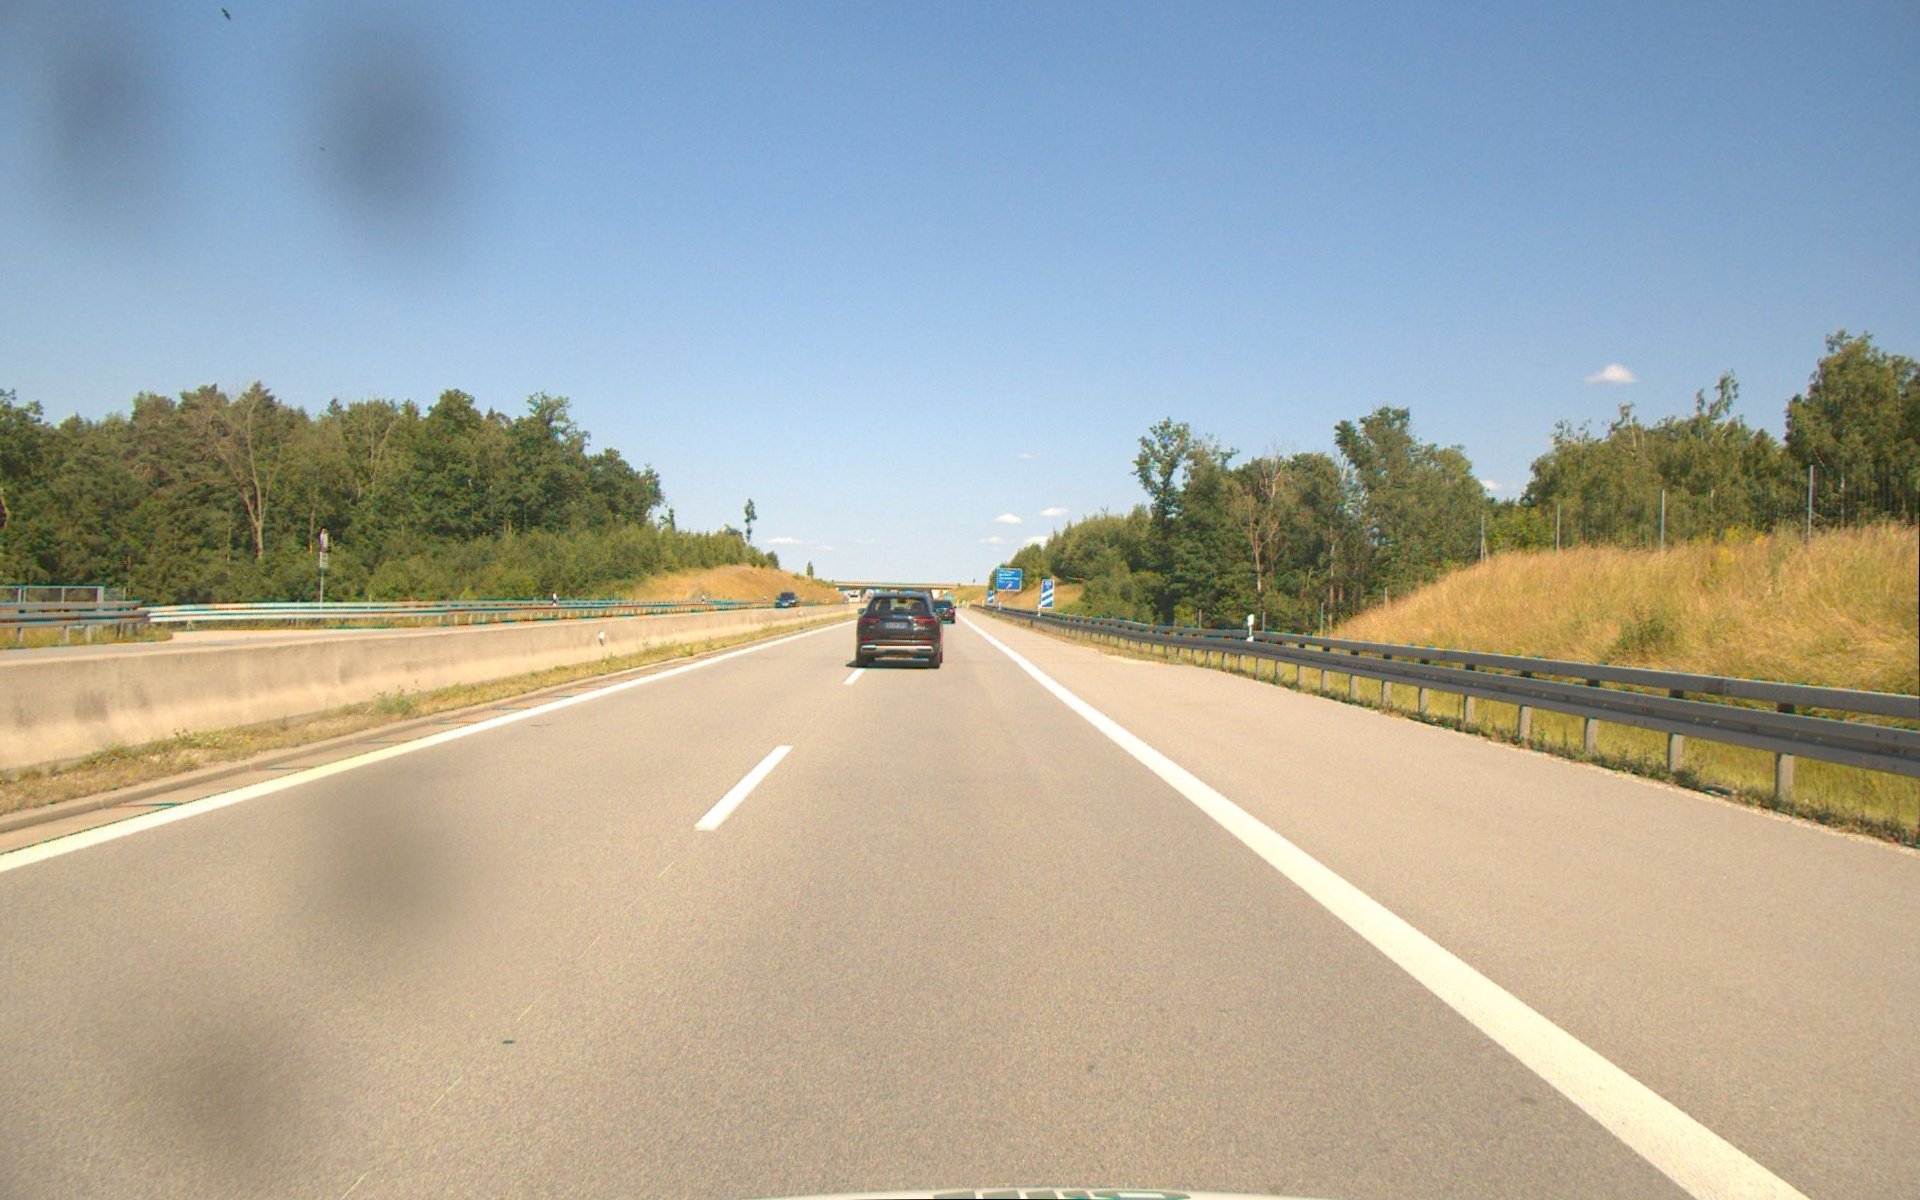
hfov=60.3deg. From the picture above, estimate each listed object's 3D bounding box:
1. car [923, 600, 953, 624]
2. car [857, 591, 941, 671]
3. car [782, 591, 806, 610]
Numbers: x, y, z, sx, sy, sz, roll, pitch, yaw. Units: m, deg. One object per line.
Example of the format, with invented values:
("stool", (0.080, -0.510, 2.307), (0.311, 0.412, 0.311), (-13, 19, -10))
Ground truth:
("car", (-1.324, 0.708, 100.719), (1.753, 1.398, 3.916), (1, 0, -1))
("car", (-1.279, 0.627, 36.560), (1.687, 1.615, 5.221), (1, 0, 0))
("car", (-15.556, 0.010, 155.446), (1.862, 1.721, 4.268), (1, 0, -1))
